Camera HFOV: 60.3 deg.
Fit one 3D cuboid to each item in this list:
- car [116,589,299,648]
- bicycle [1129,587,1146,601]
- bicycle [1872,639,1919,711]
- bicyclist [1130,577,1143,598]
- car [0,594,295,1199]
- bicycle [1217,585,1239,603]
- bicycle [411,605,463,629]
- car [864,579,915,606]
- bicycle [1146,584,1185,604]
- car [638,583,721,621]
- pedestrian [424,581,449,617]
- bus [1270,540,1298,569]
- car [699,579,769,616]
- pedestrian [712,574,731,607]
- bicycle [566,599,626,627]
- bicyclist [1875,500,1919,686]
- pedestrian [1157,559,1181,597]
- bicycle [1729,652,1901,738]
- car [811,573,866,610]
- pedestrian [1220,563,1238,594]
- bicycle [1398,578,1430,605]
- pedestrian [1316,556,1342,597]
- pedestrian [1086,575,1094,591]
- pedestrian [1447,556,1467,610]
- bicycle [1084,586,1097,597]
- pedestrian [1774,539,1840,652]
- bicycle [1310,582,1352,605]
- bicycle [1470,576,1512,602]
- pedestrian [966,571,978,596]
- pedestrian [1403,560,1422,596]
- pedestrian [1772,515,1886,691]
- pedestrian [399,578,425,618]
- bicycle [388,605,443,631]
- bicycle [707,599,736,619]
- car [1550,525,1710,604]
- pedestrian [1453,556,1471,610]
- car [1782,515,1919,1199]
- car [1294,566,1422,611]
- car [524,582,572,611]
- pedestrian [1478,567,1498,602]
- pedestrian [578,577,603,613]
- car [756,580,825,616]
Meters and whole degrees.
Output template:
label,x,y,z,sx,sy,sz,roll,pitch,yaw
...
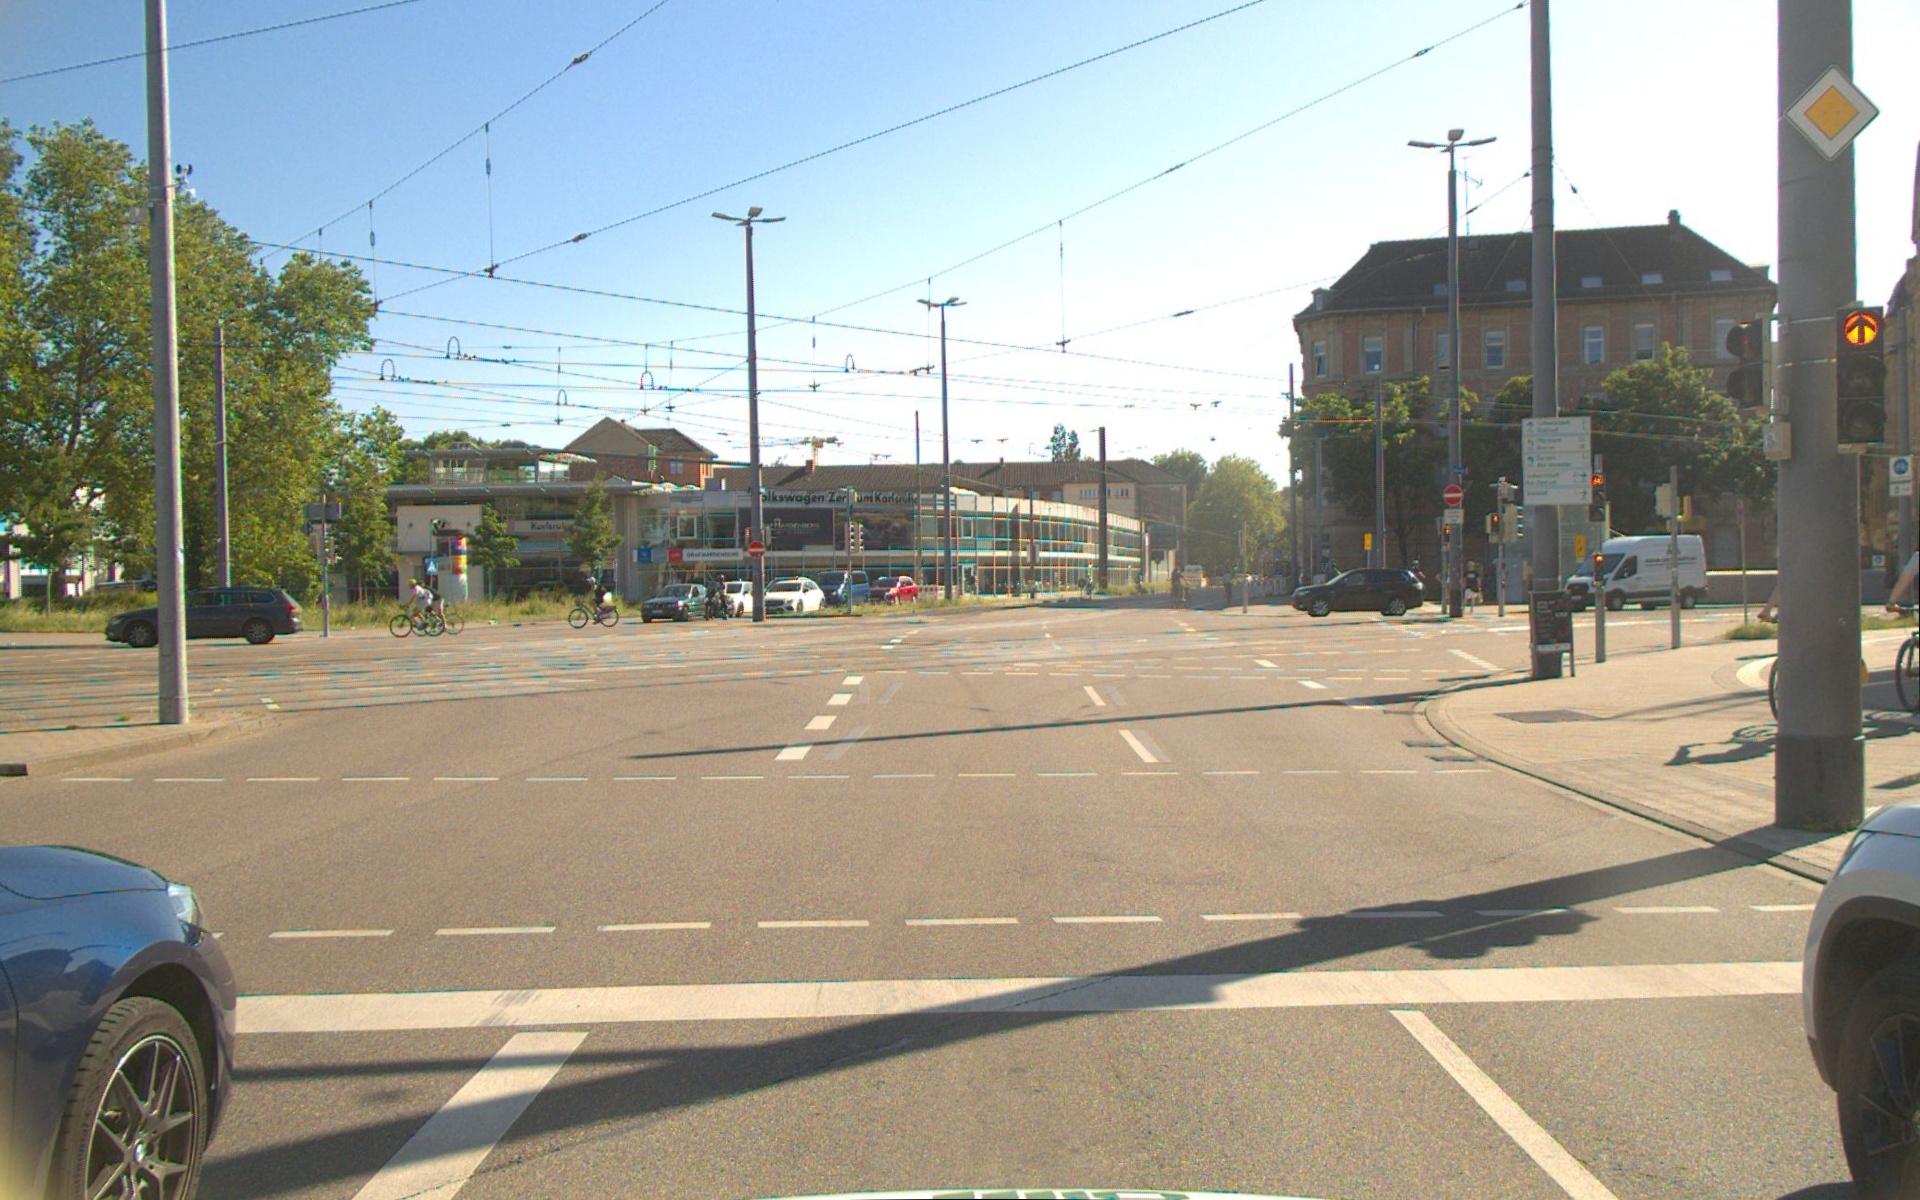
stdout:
label,x,y,z,sx,sy,sz,roll,pitch,yaw
car,-19.513,0.448,43.089,4.149,1.425,1.848,-1,1,-20
bicycle,14.020,-0.453,130.502,0.793,1.063,2.127,-1,1,20
bicycle,9.680,0.746,16.238,0.526,0.667,1.466,-2,1,-5
bicyclist,13.901,-0.956,130.230,0.793,1.652,0.929,-1,0,20
car,-2.477,0.732,2.050,1.676,1.470,4.031,1,0,0
bicycle,13.632,-0.284,83.969,0.727,0.885,1.931,-1,1,21
bicycle,-17.034,0.546,53.852,1.605,0.730,0.421,-1,1,-21
car,-3.734,-0.412,88.337,1.591,1.388,3.688,-1,1,16
bicycle,9.140,-0.279,73.617,0.733,0.885,1.918,0,1,44
car,-10.652,0.046,63.059,1.667,1.378,3.703,-1,1,17
pedestrian,-17.047,-0.044,53.843,0.736,1.146,0.421,-1,0,-21
bus,48.664,-6.682,248.228,3.755,3.670,24.887,1,0,12
car,-9.392,-0.117,69.025,1.591,1.448,3.689,-1,1,14
pedestrian,-9.024,-0.374,62.571,0.413,1.225,0.750,-1,0,17
bicycle,-12.585,0.434,57.260,1.974,0.929,0.559,-1,1,-19
bicyclist,9.681,-0.084,16.306,0.732,1.809,0.923,-2,0,-5
pedestrian,9.348,-0.976,73.889,0.792,1.660,0.713,0,0,45
bicycle,8.087,0.882,15.725,0.527,0.667,1.722,-4,1,-8
car,-5.955,-0.435,81.190,1.591,1.722,3.689,-1,1,14
pedestrian,13.680,-1.109,84.118,0.730,1.549,0.718,-1,0,21
bicycle,19.491,-0.369,70.983,0.538,1.139,2.008,0,1,40
pedestrian,14.908,-0.957,66.841,0.712,1.660,0.746,-1,0,-42
pedestrian,9.537,-1.246,121.321,0.414,1.225,0.680,-1,0,25
pedestrian,18.791,-0.642,62.557,0.564,2.049,0.449,-1,1,-18
bicycle,9.565,-0.616,121.366,0.414,0.730,1.474,-1,1,25
pedestrian,14.474,-0.077,28.258,0.880,1.892,0.924,-1,1,34
bicycle,15.011,-0.269,66.932,1.916,0.885,0.733,-1,1,-44
bicycle,23.837,-0.492,74.190,1.988,1.139,0.545,-1,0,-27
pedestrian,0.832,-1.150,116.109,0.534,1.718,0.627,-1,0,39
pedestrian,19.407,-0.950,70.874,0.538,1.543,0.702,0,0,41
pedestrian,8.114,0.022,15.465,0.538,1.590,0.856,-1,0,-8
pedestrian,-17.315,-0.071,52.238,0.737,1.225,0.421,-1,0,-24
bicycle,-17.218,0.556,52.279,1.607,0.772,0.421,-1,1,-24
bicycle,-9.021,0.339,62.555,0.413,0.730,1.635,-1,1,16
car,24.628,-1.302,60.744,5.832,2.792,2.126,-1,1,-26
pedestrian,19.180,-0.661,63.197,0.453,2.049,0.449,-1,1,-18
car,2.994,0.653,2.093,1.660,1.670,4.296,-1,1,-2
car,14.056,-0.416,58.527,4.161,1.529,1.705,-1,1,3
car,-25.381,-0.221,101.930,1.926,1.735,4.083,-1,1,-1
pedestrian,23.661,-0.686,74.117,0.696,1.543,0.543,-1,0,-27
pedestrian,-12.763,-0.177,57.195,0.782,1.225,0.557,-1,0,-18
car,-6.851,-0.099,67.166,1.591,1.406,3.741,-1,1,14
